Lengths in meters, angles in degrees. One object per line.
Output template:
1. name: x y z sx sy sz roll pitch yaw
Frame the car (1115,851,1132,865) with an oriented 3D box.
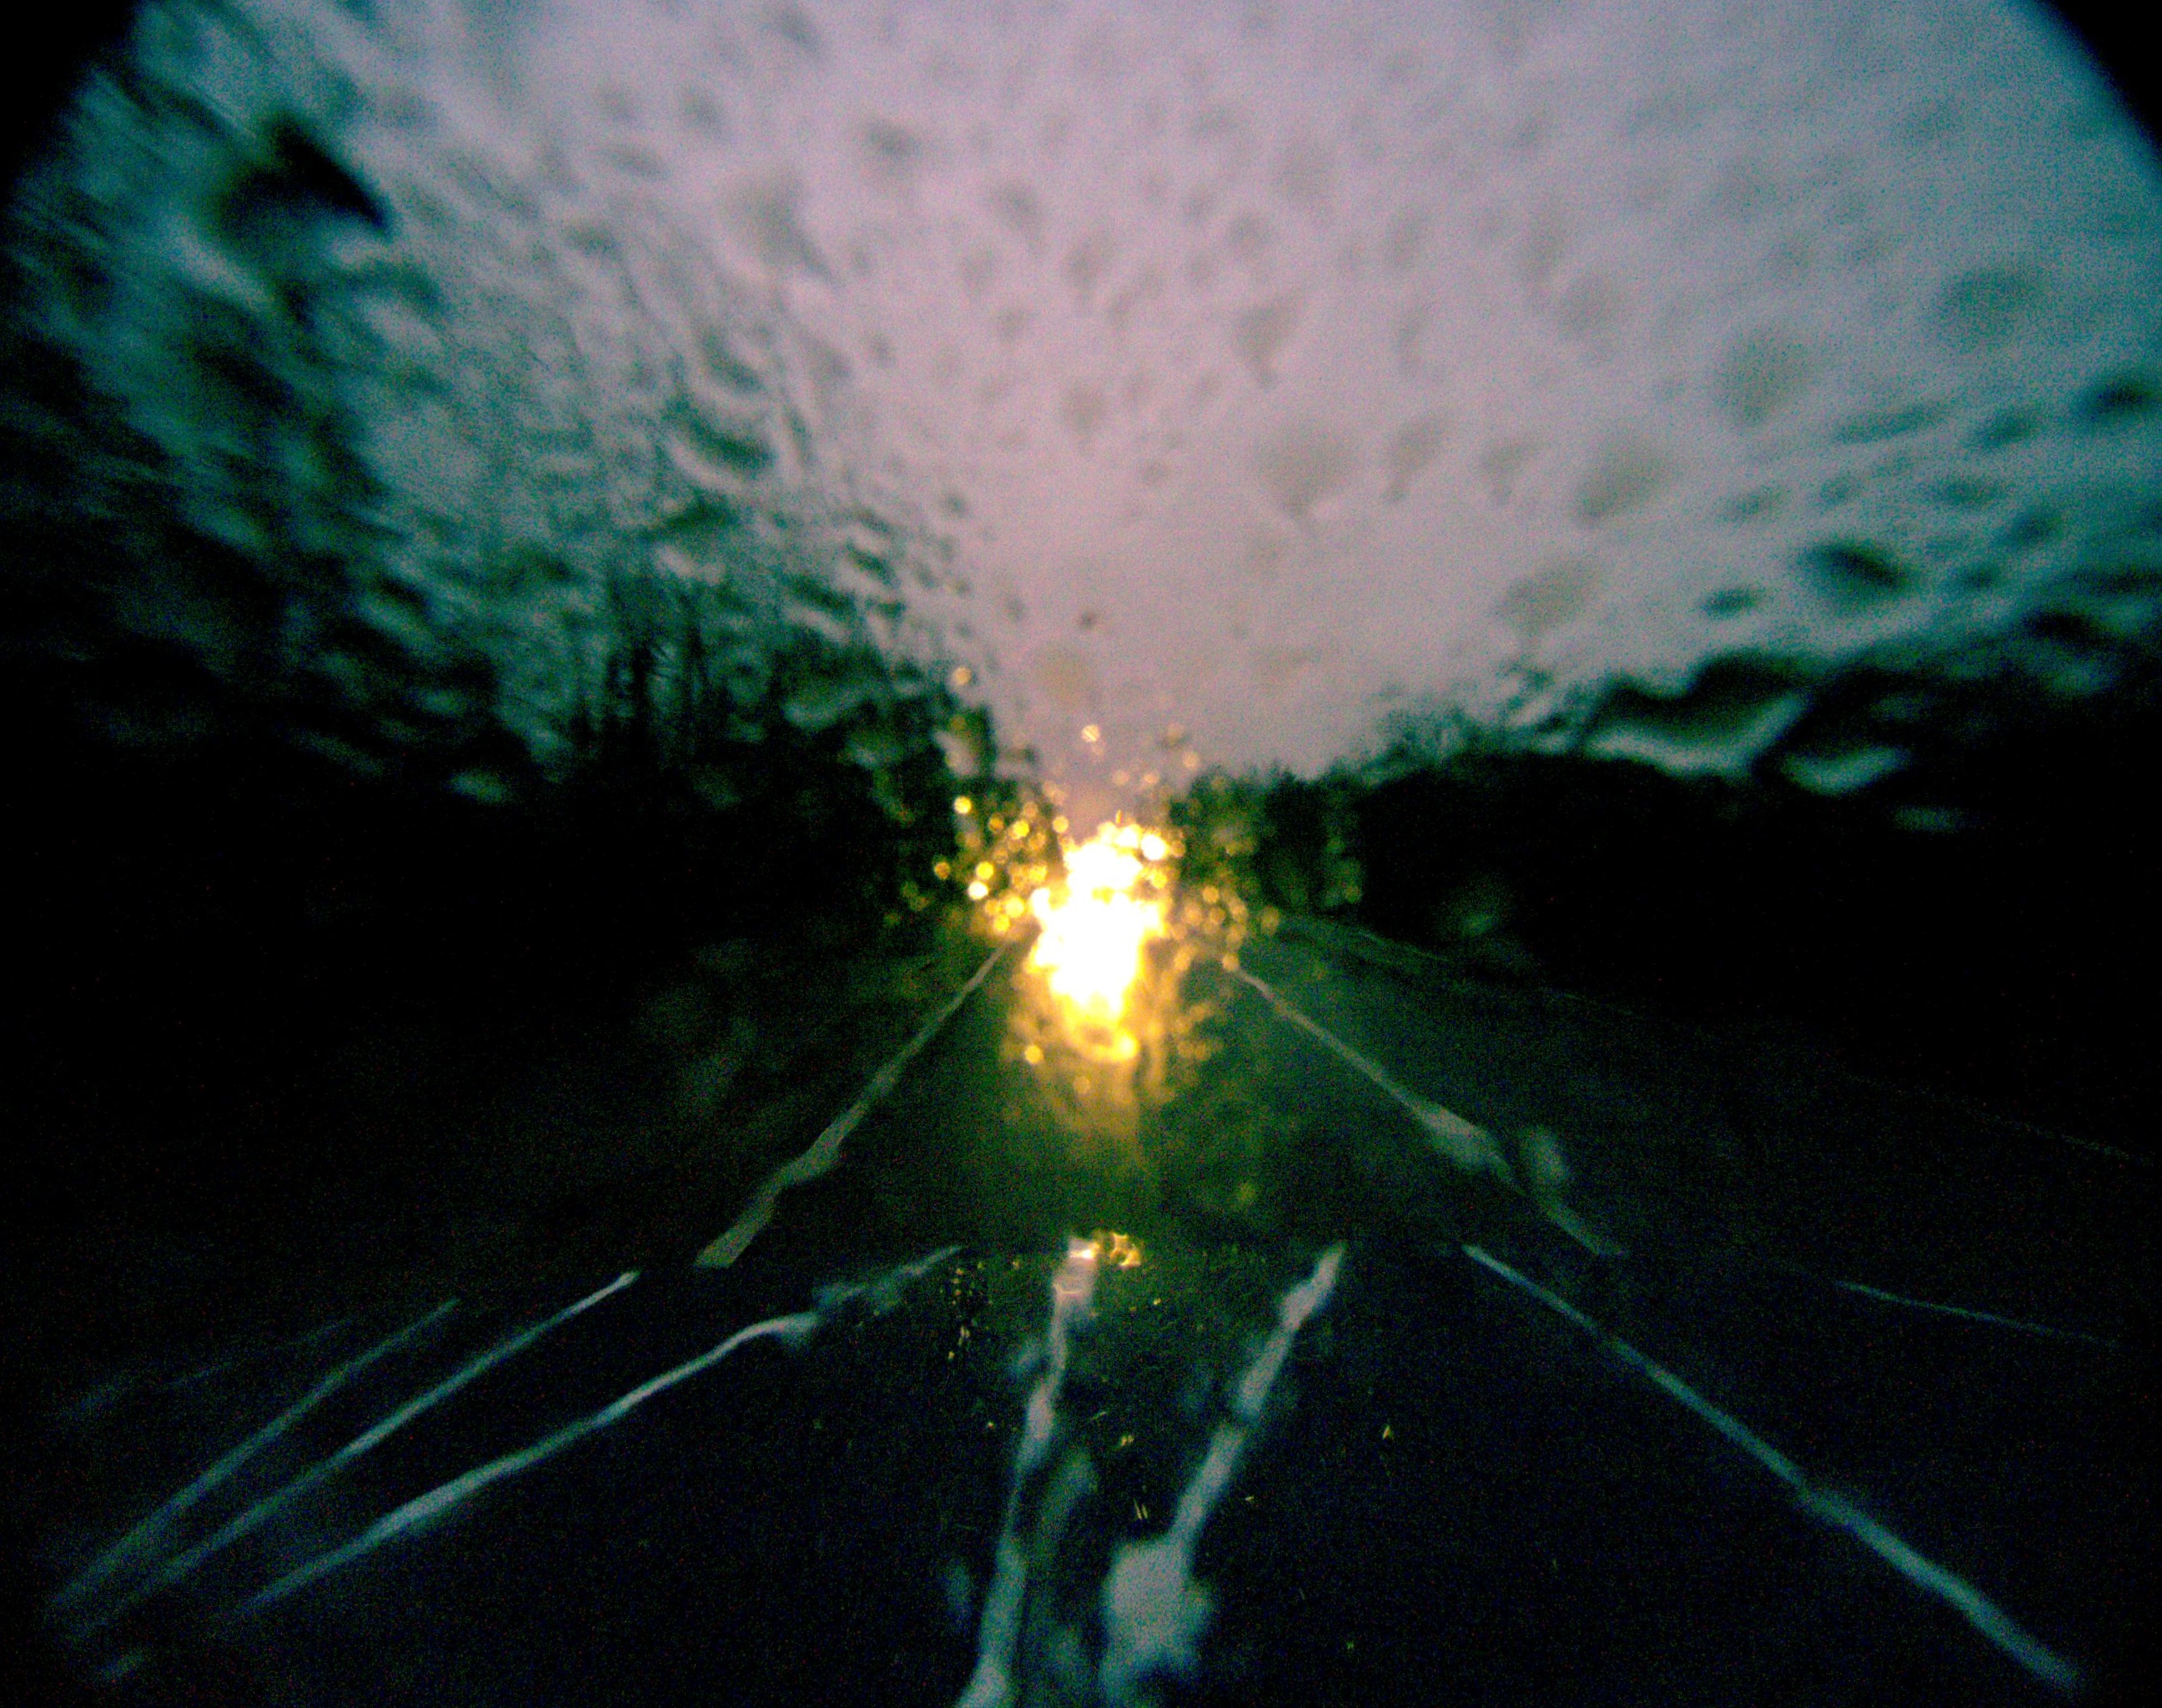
1. car: 5.151 0.448 92.912 1.771 1.589 4.000 1 0 0

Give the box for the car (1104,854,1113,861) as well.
1. car: 5.844 0.802 162.668 1.809 1.478 4.000 0 0 0

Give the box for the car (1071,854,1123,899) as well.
1. car: 0.613 0.816 29.855 1.860 1.604 4.000 -1 0 1
